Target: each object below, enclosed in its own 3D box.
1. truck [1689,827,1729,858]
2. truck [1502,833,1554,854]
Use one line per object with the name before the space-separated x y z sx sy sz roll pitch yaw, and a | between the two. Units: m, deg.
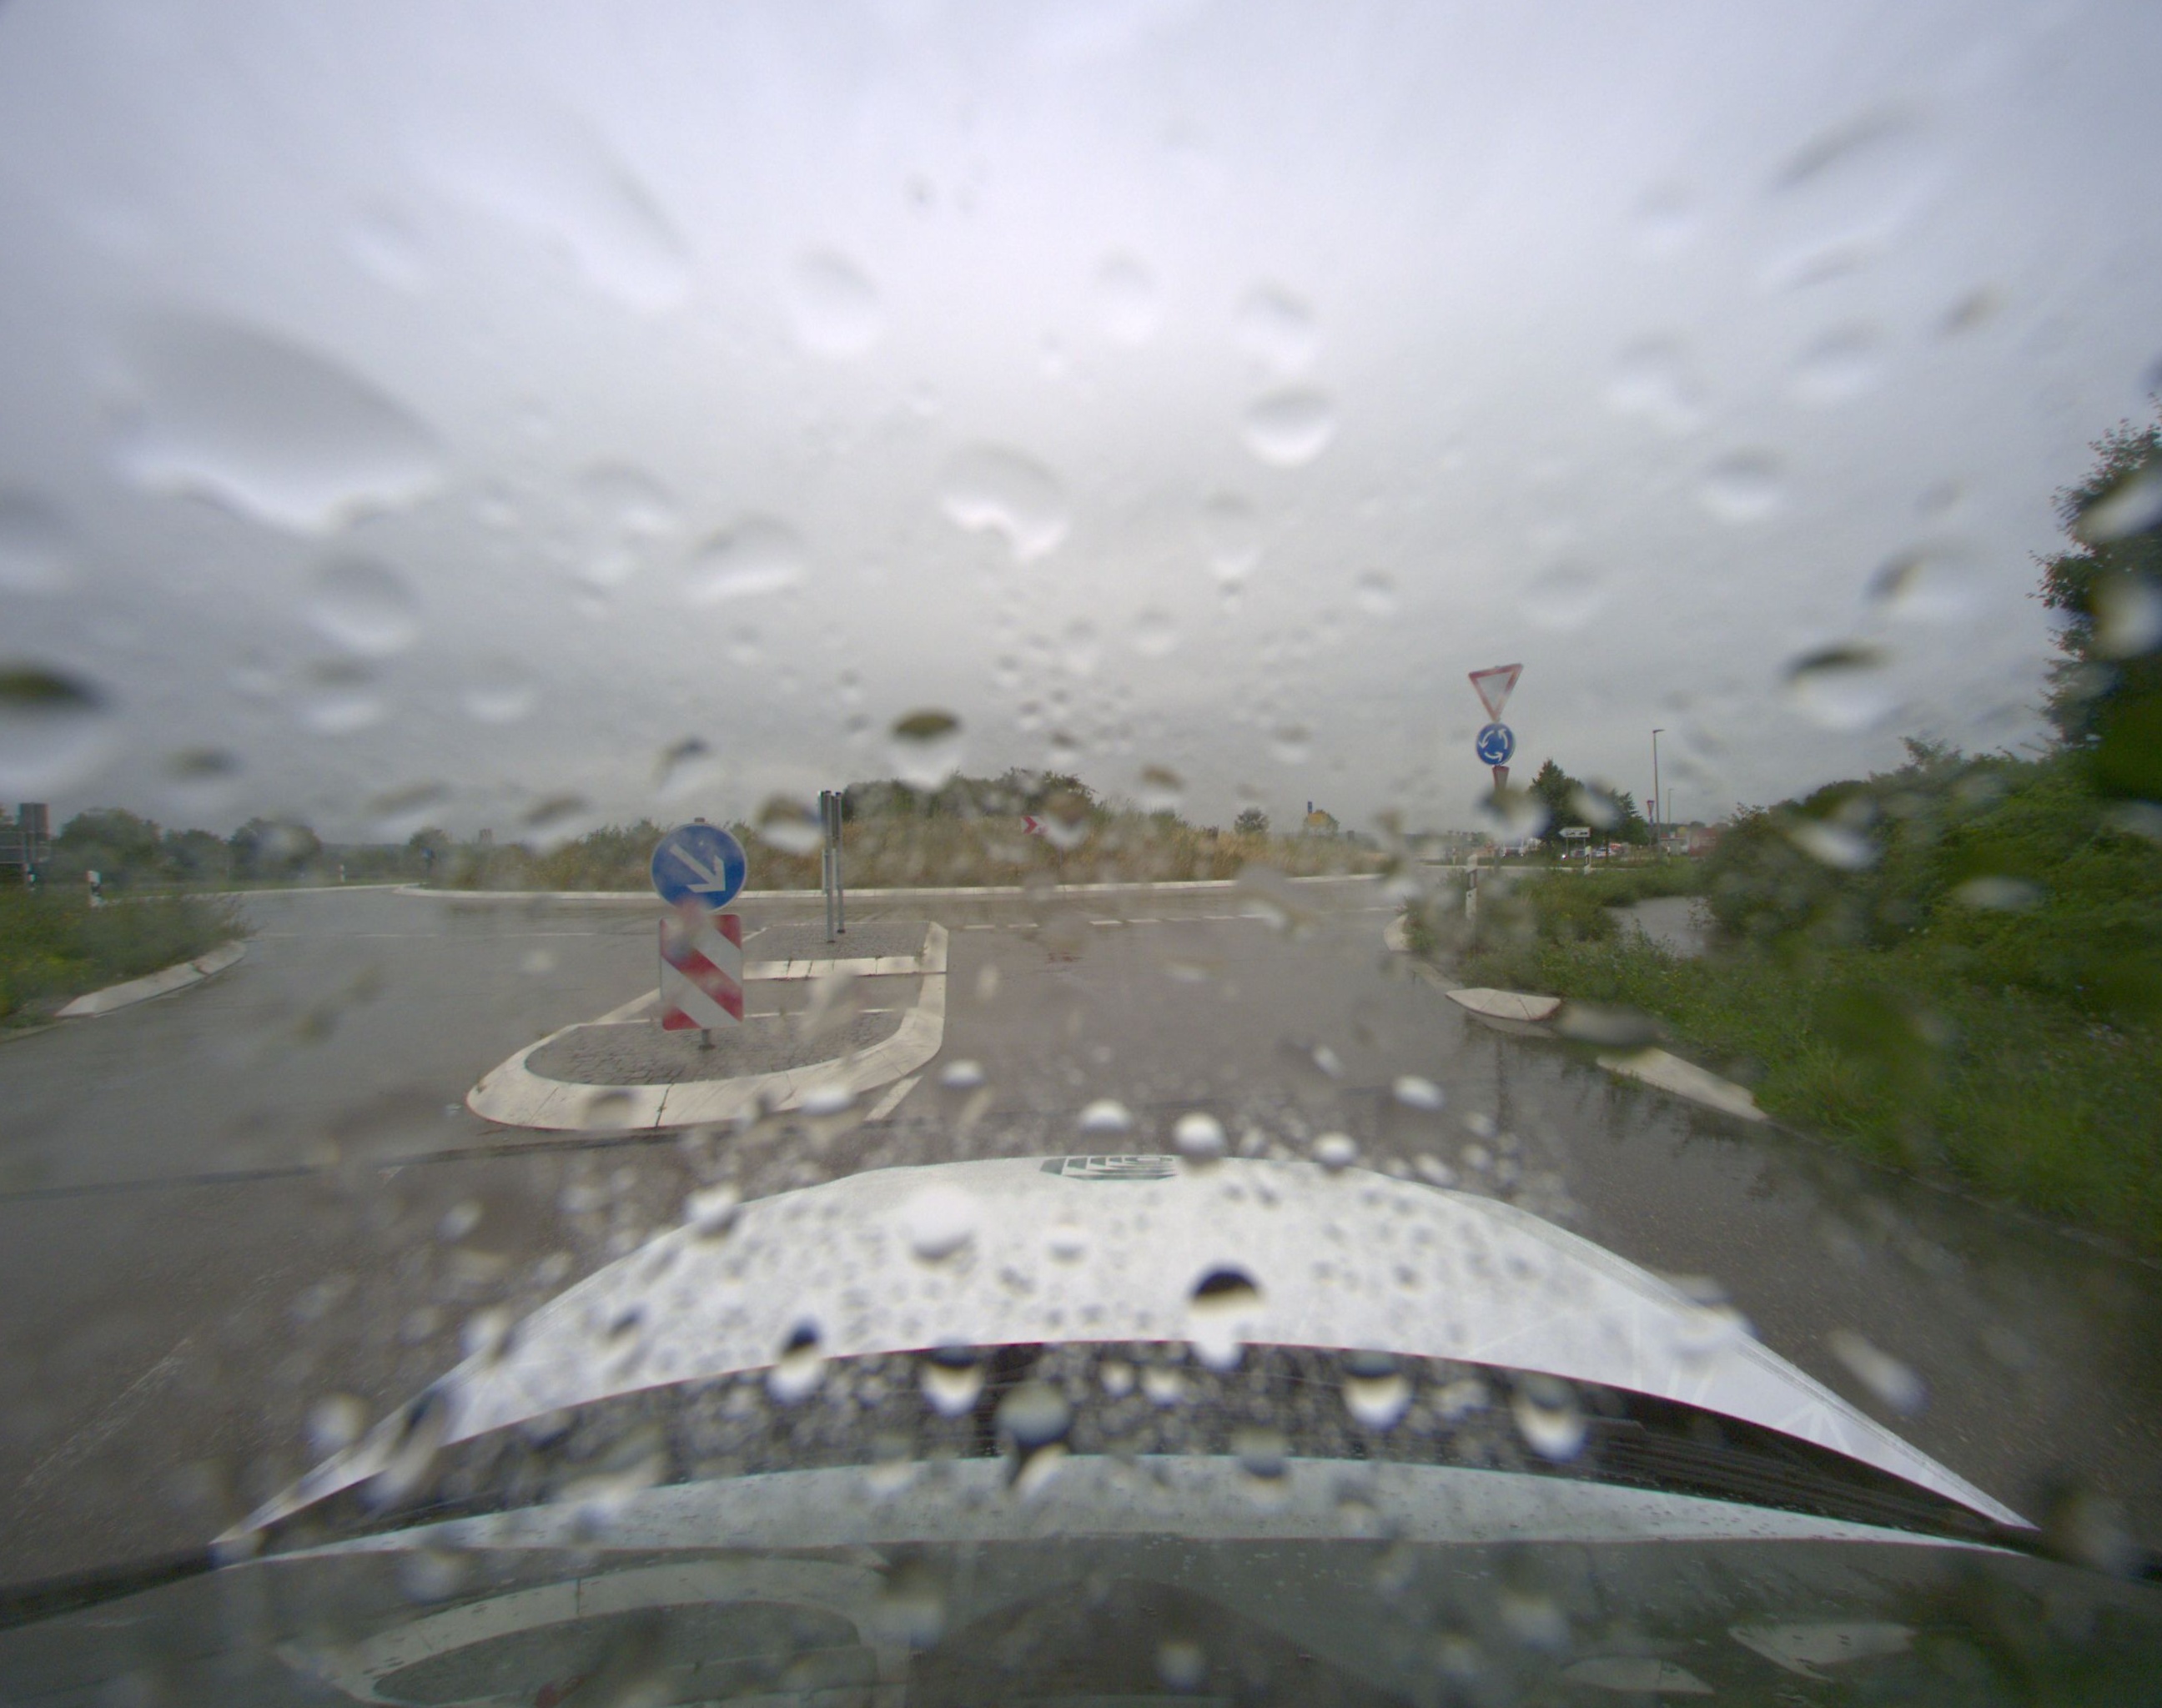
truck | 90.702 -1.598 117.810 2.872 4.289 8.865 -2 -1 27
truck | 54.237 -1.304 98.784 8.454 2.223 2.490 -2 -1 -39
